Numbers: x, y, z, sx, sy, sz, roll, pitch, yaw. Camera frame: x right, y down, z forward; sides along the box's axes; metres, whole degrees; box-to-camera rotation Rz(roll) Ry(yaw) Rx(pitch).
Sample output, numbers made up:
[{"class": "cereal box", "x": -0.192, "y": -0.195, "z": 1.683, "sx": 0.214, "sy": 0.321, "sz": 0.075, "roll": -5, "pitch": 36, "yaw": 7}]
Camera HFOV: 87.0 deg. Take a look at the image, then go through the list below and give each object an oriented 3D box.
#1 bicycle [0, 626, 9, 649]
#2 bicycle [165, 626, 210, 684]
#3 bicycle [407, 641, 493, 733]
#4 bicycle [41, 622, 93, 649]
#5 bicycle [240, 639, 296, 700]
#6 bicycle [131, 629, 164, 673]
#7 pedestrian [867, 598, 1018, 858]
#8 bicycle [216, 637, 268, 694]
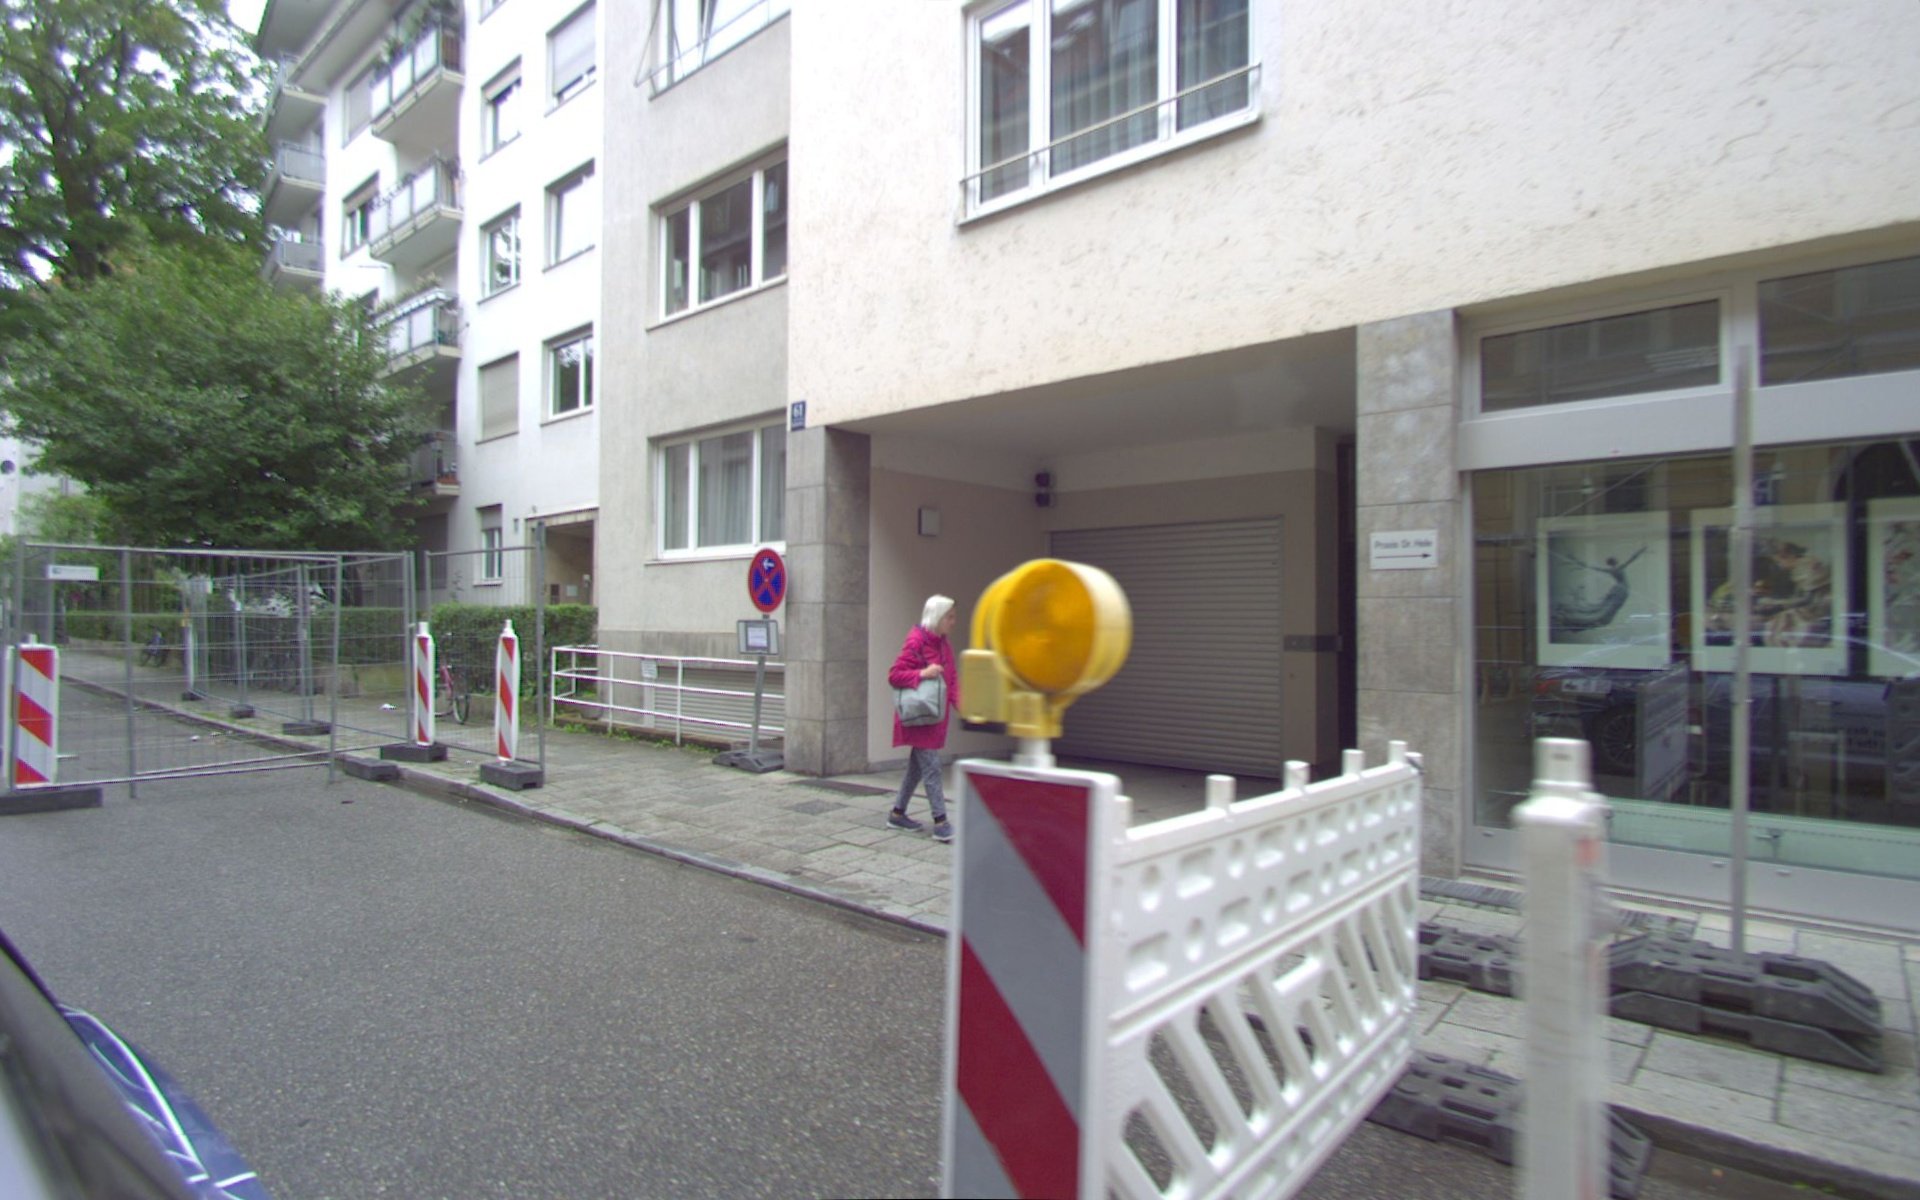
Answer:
[{"class": "bicycle", "x": -46.239, "y": 1.792, "z": 48.743, "sx": 1.702, "sy": 1.103, "sz": 0.426, "roll": -1, "pitch": 0, "yaw": 40}, {"class": "bicycle", "x": -16.994, "y": 1.190, "z": 22.261, "sx": 1.699, "sy": 1.160, "sz": 0.483, "roll": 0, "pitch": 2, "yaw": 43}, {"class": "bicycle", "x": -6.625, "y": 1.096, "z": 13.110, "sx": 1.597, "sy": 1.071, "sz": 0.373, "roll": -1, "pitch": 4, "yaw": 43}, {"class": "bicycle", "x": -42.017, "y": 1.659, "z": 47.620, "sx": 0.432, "sy": 1.270, "sz": 1.788, "roll": -1, "pitch": -2, "yaw": 40}, {"class": "bicycle", "x": -12.573, "y": 1.235, "z": 18.366, "sx": 1.816, "sy": 0.986, "sz": 0.439, "roll": 0, "pitch": 2, "yaw": 43}, {"class": "bicycle", "x": -20.922, "y": 1.289, "z": 26.054, "sx": 1.779, "sy": 1.080, "sz": 0.343, "roll": -1, "pitch": 1, "yaw": 42}, {"class": "pedestrian", "x": -0.115, "y": 0.766, "z": 6.510, "sx": 0.747, "sy": 1.543, "sz": 0.631, "roll": -1, "pitch": -2, "yaw": 44}, {"class": "bicycle", "x": -13.941, "y": 1.251, "z": 19.635, "sx": 1.854, "sy": 0.986, "sz": 0.439, "roll": 0, "pitch": 2, "yaw": 43}]
